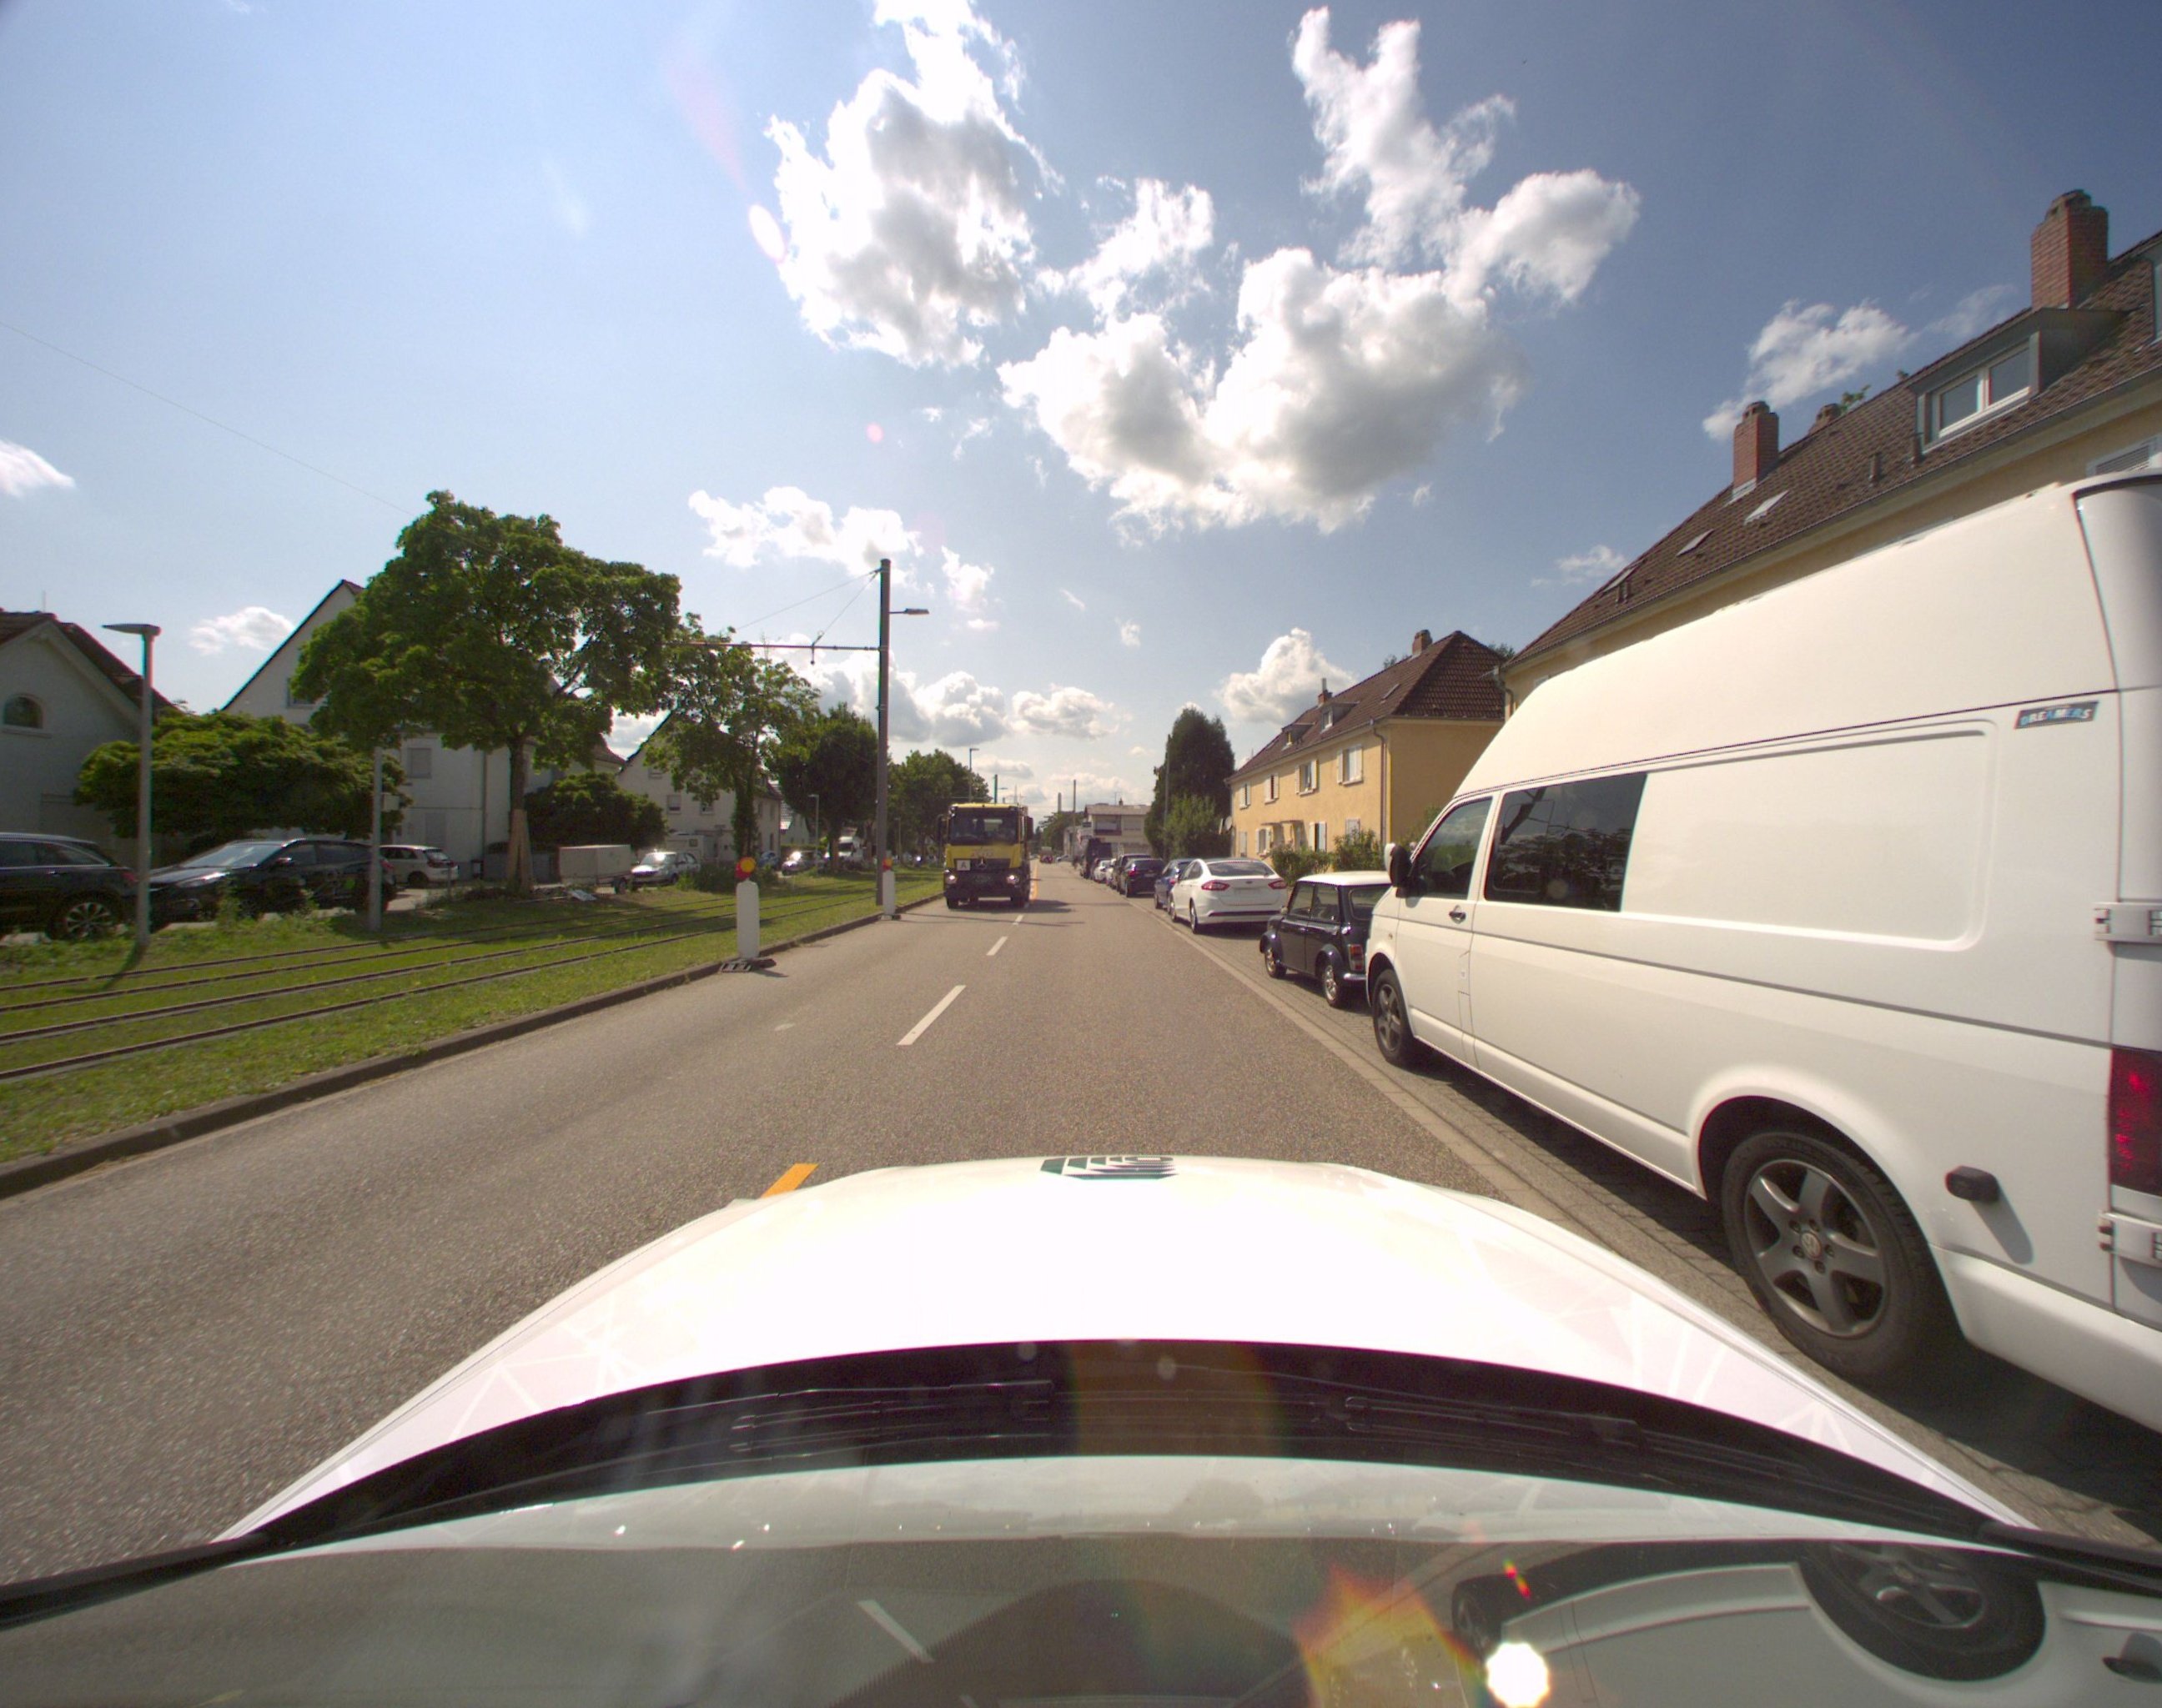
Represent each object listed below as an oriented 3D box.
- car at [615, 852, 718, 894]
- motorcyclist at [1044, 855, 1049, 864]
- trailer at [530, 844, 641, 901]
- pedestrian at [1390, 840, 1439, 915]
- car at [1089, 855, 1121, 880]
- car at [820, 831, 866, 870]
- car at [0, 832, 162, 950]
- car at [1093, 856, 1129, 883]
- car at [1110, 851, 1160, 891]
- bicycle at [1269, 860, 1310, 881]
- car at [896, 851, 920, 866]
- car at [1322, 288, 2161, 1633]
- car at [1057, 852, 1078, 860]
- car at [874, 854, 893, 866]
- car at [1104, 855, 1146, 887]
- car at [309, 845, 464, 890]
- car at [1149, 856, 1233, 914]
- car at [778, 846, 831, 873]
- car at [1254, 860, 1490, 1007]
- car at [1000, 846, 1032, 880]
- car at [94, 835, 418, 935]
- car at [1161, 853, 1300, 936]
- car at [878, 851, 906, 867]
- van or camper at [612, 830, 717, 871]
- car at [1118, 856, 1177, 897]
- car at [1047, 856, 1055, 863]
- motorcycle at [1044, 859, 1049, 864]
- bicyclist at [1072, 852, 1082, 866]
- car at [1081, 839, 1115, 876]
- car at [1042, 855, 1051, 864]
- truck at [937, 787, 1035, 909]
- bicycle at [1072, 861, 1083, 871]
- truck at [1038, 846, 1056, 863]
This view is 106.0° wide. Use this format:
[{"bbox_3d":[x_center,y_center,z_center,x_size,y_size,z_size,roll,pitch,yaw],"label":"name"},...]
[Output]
[{"bbox_3d":[-16.000,0.682,31.750,1.724,1.505,4.565,-2,0,-1],"label":"car"},{"bbox_3d":[-6.187,0.963,146.543,0.882,1.667,1.108,0,0,-4],"label":"motorcyclist"},{"bbox_3d":[-15.740,0.551,26.067,1.561,1.678,3.369,0,0,-2],"label":"trailer"},{"bbox_3d":[7.470,0.516,18.256,0.850,1.652,0.637,1,0,2],"label":"pedestrian"},{"bbox_3d":[1.535,0.833,52.822,1.759,1.502,3.996,-2,0,-2],"label":"car"},{"bbox_3d":[-17.724,-0.245,61.070,2.071,2.721,6.987,-2,0,-6],"label":"car"},{"bbox_3d":[-15.420,0.522,10.575,1.806,1.586,4.565,-2,0,-1],"label":"car"},{"bbox_3d":[1.729,0.861,47.650,1.759,1.439,3.996,-2,0,-2],"label":"car"},{"bbox_3d":[2.368,0.702,36.533,1.759,1.643,3.996,-2,0,-2],"label":"car"},{"bbox_3d":[9.724,0.775,38.070,1.858,0.956,0.366,0,0,-7],"label":"bicycle"},{"bbox_3d":[-18.289,0.531,86.327,1.874,1.553,4.392,0,0,-3],"label":"car"},{"bbox_3d":[3.000,0.196,4.242,1.922,2.481,5.518,-1,0,1],"label":"car"},{"bbox_3d":[-3.088,0.390,189.389,4.639,1.823,1.831,0,0,-8],"label":"car"},{"bbox_3d":[-27.907,0.854,115.013,1.874,1.553,4.392,0,0,-3],"label":"car"},{"bbox_3d":[2.197,0.824,41.441,1.759,1.477,3.996,-2,0,-2],"label":"car"},{"bbox_3d":[-25.313,0.476,29.793,3.981,1.571,1.791,0,0,-5],"label":"car"},{"bbox_3d":[2.946,0.780,22.524,1.617,1.417,3.996,-2,0,-2],"label":"car"},{"bbox_3d":[-17.074,0.325,50.494,1.724,1.505,4.565,-2,0,-1],"label":"car"},{"bbox_3d":[3.034,0.749,9.129,1.338,1.340,3.284,0,-1,-3],"label":"car"},{"bbox_3d":[-4.198,0.548,52.283,1.925,1.958,5.366,-2,0,-5],"label":"car"},{"bbox_3d":[-15.739,0.518,15.987,1.690,1.637,4.566,-2,0,0],"label":"car"},{"bbox_3d":[2.945,0.763,17.159,1.795,1.458,4.759,-2,-1,-3],"label":"car"},{"bbox_3d":[-17.969,0.476,77.465,1.874,1.553,4.373,0,0,-3],"label":"car"},{"bbox_3d":[-32.454,-0.299,63.702,6.866,3.126,2.440,0,0,-4],"label":"van or camper"},{"bbox_3d":[2.481,0.800,31.294,1.759,1.417,3.996,-2,0,-2],"label":"car"},{"bbox_3d":[-6.614,1.218,181.234,1.565,1.498,4.142,0,0,-4],"label":"car"},{"bbox_3d":[-6.199,1.335,146.795,0.882,0.924,2.613,0,0,-3],"label":"motorcycle"},{"bbox_3d":[-0.402,0.593,90.579,0.993,1.569,1.137,0,0,-6],"label":"bicyclist"},{"bbox_3d":[1.152,0.235,58.906,1.955,2.478,6.052,-2,0,-3],"label":"car"},{"bbox_3d":[-6.493,1.015,151.648,1.565,1.498,4.142,0,0,-4],"label":"car"},{"bbox_3d":[-2.952,-0.177,27.136,2.553,3.459,7.144,-2,0,-2],"label":"truck"},{"bbox_3d":[-0.404,1.303,90.542,0.993,1.049,2.807,0,0,-5],"label":"bicycle"},{"bbox_3d":[-7.133,0.217,168.821,3.215,3.402,11.335,0,0,-4],"label":"truck"}]
